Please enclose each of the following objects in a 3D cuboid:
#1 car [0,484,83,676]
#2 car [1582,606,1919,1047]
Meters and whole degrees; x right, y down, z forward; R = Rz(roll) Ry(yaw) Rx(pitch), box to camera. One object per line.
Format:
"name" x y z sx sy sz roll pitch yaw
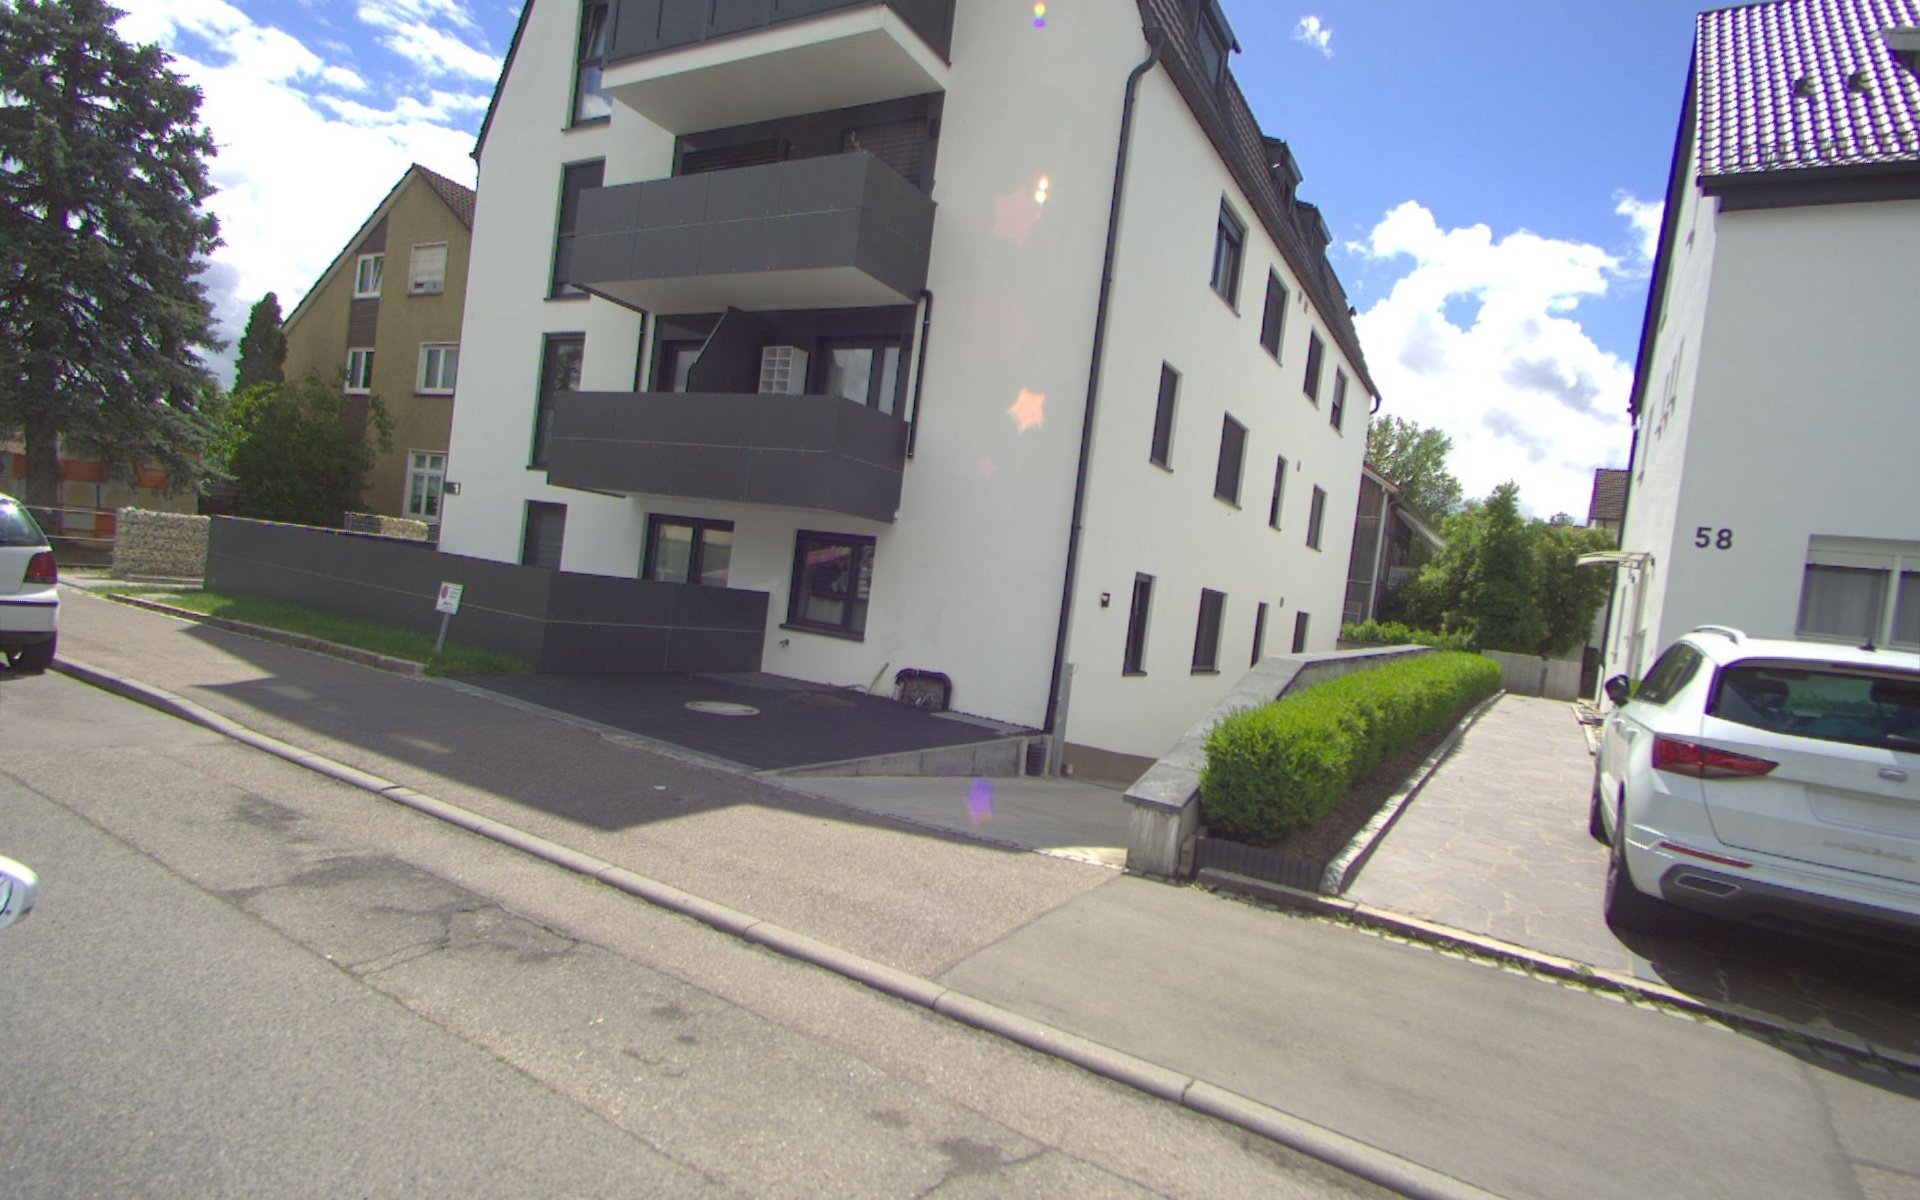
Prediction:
"car" -9.200 -0.360 8.507 3.919 1.451 1.719 7 2 34
"car" 4.871 0.974 5.929 1.836 1.677 4.190 7 4 31
